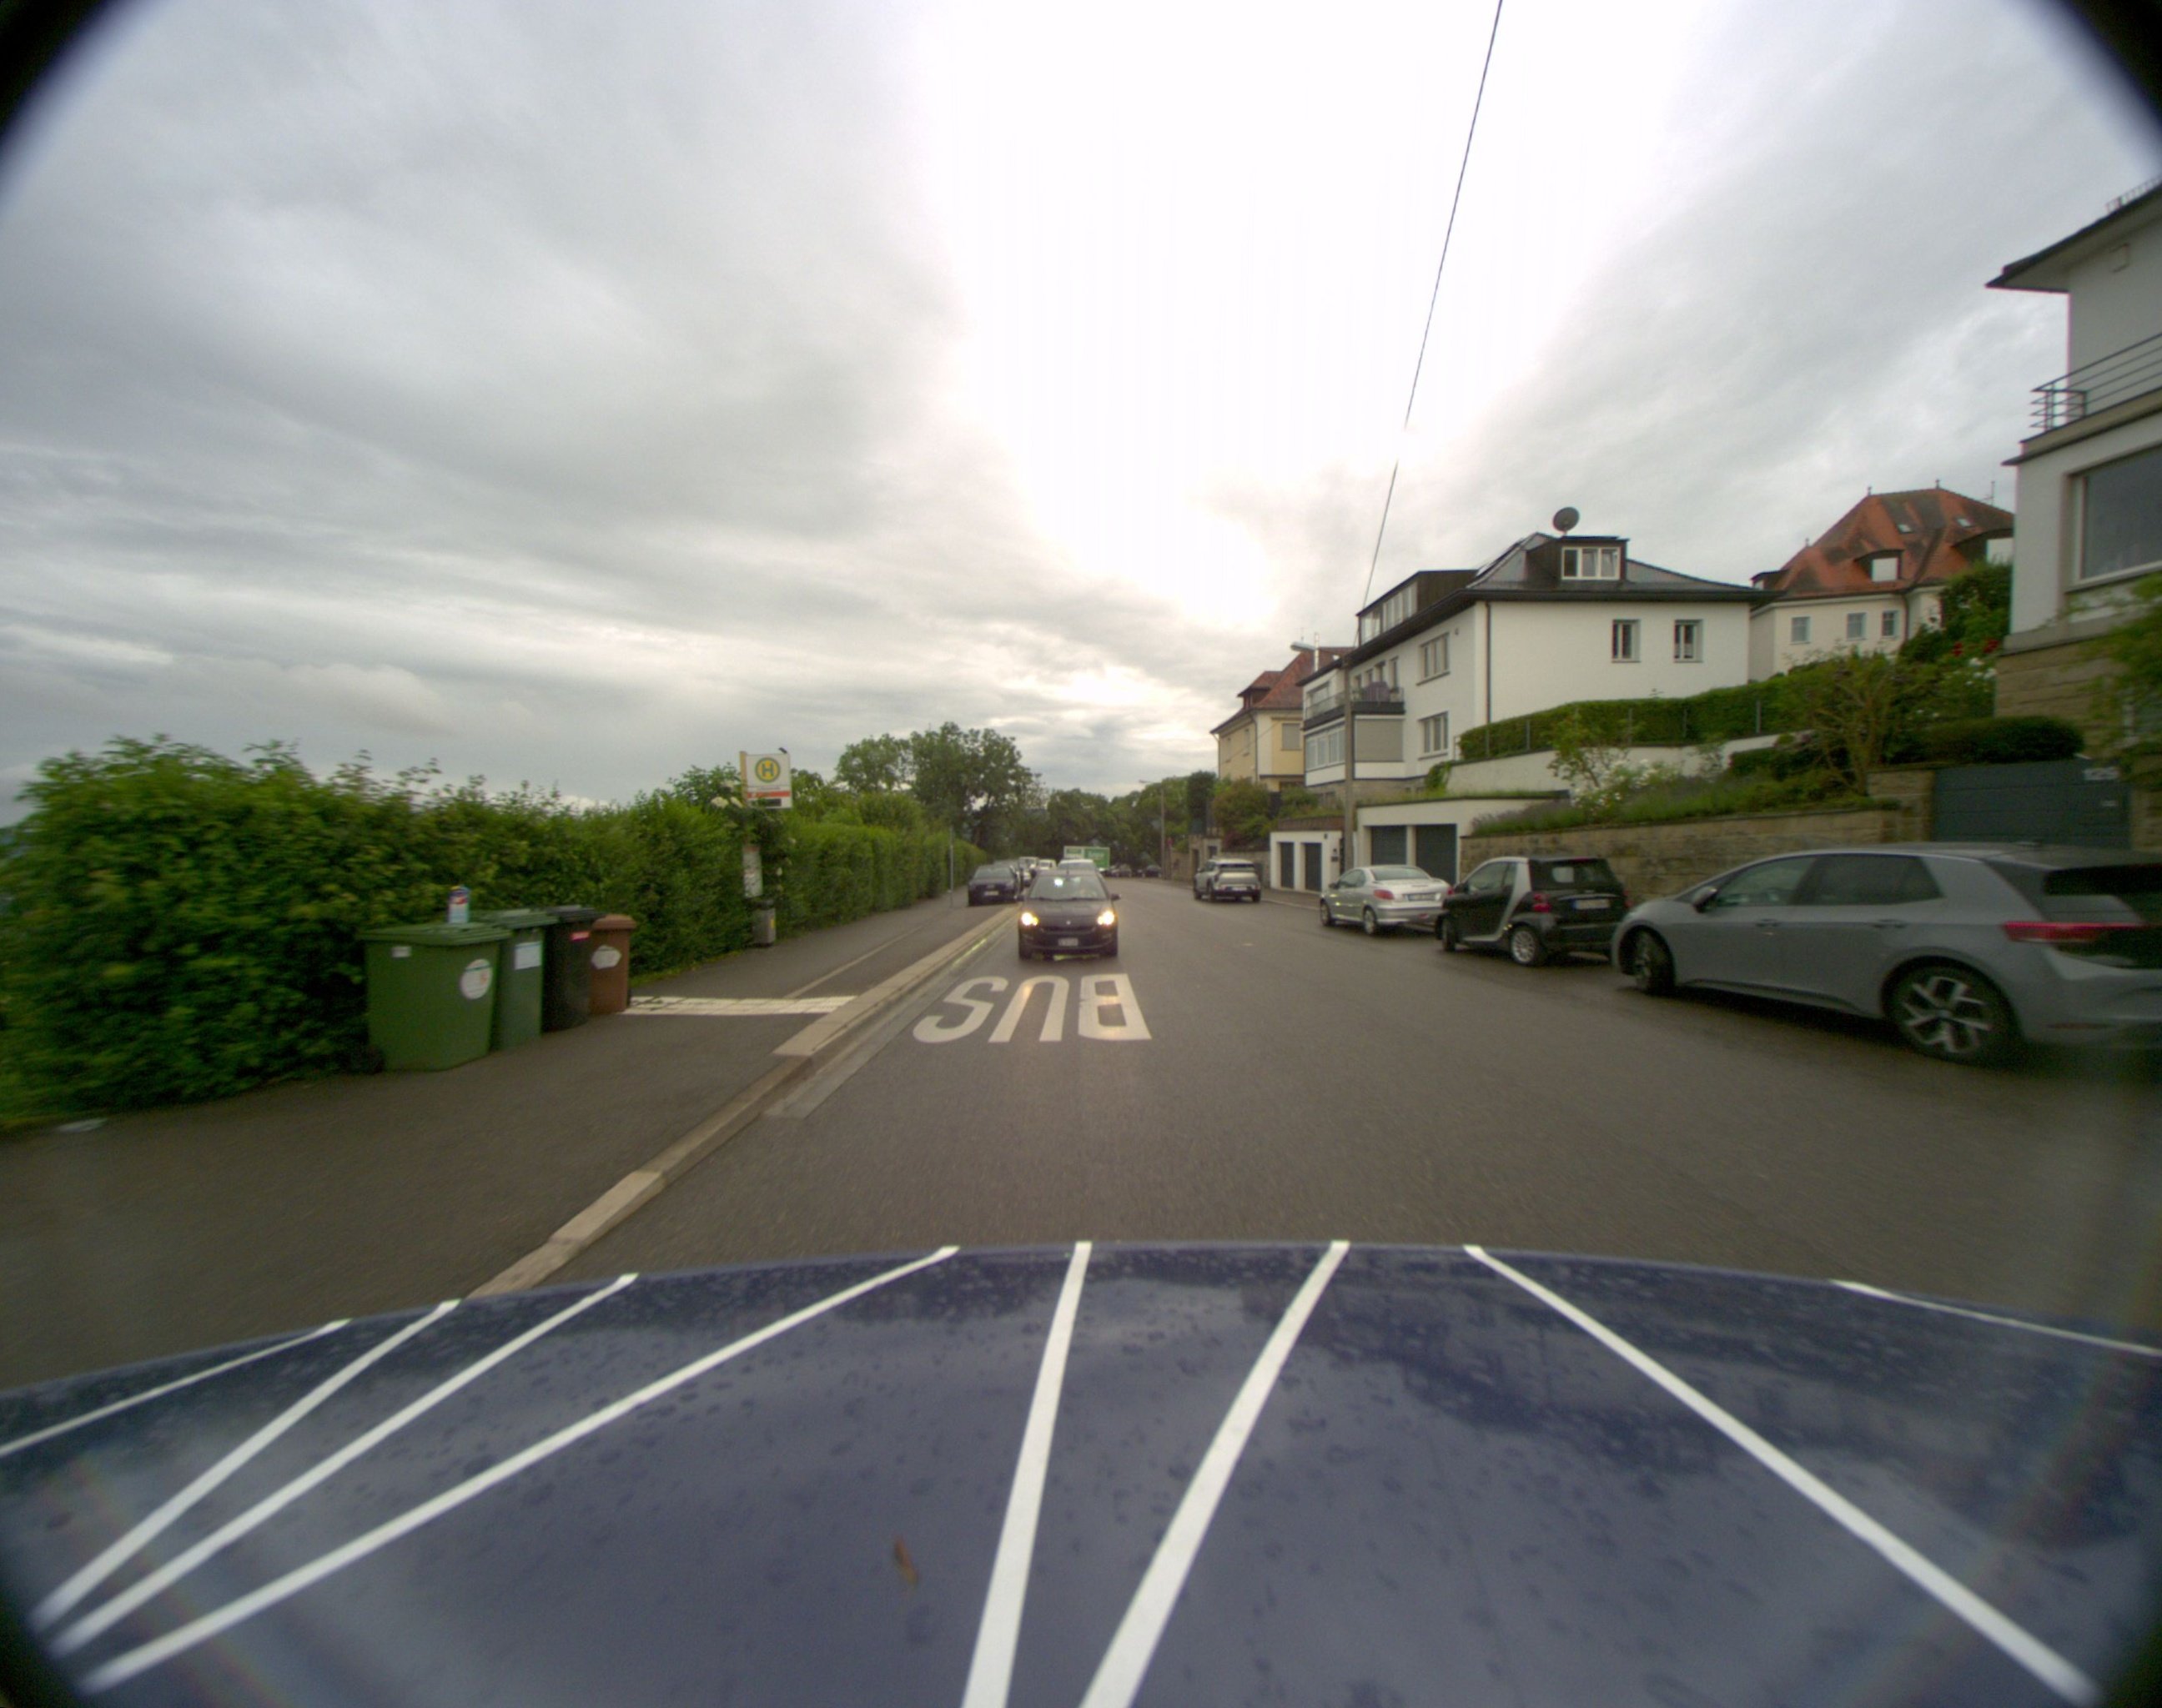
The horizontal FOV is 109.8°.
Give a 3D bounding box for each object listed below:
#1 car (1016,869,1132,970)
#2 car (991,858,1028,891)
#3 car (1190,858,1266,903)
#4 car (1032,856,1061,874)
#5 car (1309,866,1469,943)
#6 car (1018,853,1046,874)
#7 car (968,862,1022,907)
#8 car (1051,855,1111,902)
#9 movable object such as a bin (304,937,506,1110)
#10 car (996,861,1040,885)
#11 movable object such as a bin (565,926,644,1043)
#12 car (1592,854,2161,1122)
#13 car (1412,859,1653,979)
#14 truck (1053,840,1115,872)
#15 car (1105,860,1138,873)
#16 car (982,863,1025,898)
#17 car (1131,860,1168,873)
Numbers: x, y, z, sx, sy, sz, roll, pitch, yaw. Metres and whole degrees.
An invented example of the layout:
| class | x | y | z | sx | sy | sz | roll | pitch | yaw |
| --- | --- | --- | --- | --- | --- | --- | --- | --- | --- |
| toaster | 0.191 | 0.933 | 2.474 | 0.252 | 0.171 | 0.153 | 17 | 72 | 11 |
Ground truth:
| class | x | y | z | sx | sy | sz | roll | pitch | yaw |
| --- | --- | --- | --- | --- | --- | --- | --- | --- | --- |
| car | -0.254 | 1.079 | 14.186 | 1.784 | 1.477 | 4.404 | -2 | 0 | -4 |
| car | -3.929 | 1.081 | 42.302 | 1.892 | 1.653 | 4.546 | -2 | 0 | -4 |
| car | 5.503 | 0.942 | 28.922 | 1.903 | 1.558 | 4.237 | 0 | 0 | -3 |
| car | -3.450 | 1.123 | 77.151 | 1.862 | 1.760 | 4.384 | -1 | -1 | 13 |
| car | 6.282 | 0.966 | 15.988 | 1.614 | 1.329 | 3.840 | -2 | 0 | -3 |
| car | -4.544 | 0.894 | 71.320 | 1.864 | 1.936 | 4.810 | 1 | -1 | 5 |
| car | -3.257 | 1.113 | 29.394 | 1.759 | 1.521 | 4.204 | -2 | 0 | -3 |
| car | 0.019 | 0.922 | 30.538 | 2.191 | 1.698 | 4.883 | -1 | 0 | 0 |
| movable object such as a bin | -4.580 | 1.118 | 5.209 | 0.713 | 1.024 | 0.757 | 1 | 0 | -4 |
| car | -3.970 | 1.157 | 47.401 | 1.806 | 1.431 | 4.636 | -1 | 0 | -16 |
| movable object such as a bin | -4.533 | 1.205 | 7.217 | 0.572 | 0.963 | 0.668 | -3 | 0 | -35 |
| car | 6.914 | 0.796 | 6.645 | 1.903 | 1.506 | 4.342 | -2 | 0 | 0 |
| car | 6.584 | 0.852 | 11.483 | 1.501 | 1.515 | 3.157 | -1 | 0 | -7 |
| truck | 0.445 | 0.282 | 86.348 | 2.774 | 3.450 | 8.952 | 3 | 0 | 30 |
| car | 4.974 | 1.570 | 92.979 | 1.734 | 1.494 | 4.145 | 2 | 0 | 41 |
| car | -3.514 | 1.170 | 35.034 | 1.718 | 1.397 | 4.607 | -2 | 0 | -3 |
| car | 8.772 | 1.598 | 97.104 | 4.906 | 1.533 | 1.860 | 2 | 0 | -42 |
